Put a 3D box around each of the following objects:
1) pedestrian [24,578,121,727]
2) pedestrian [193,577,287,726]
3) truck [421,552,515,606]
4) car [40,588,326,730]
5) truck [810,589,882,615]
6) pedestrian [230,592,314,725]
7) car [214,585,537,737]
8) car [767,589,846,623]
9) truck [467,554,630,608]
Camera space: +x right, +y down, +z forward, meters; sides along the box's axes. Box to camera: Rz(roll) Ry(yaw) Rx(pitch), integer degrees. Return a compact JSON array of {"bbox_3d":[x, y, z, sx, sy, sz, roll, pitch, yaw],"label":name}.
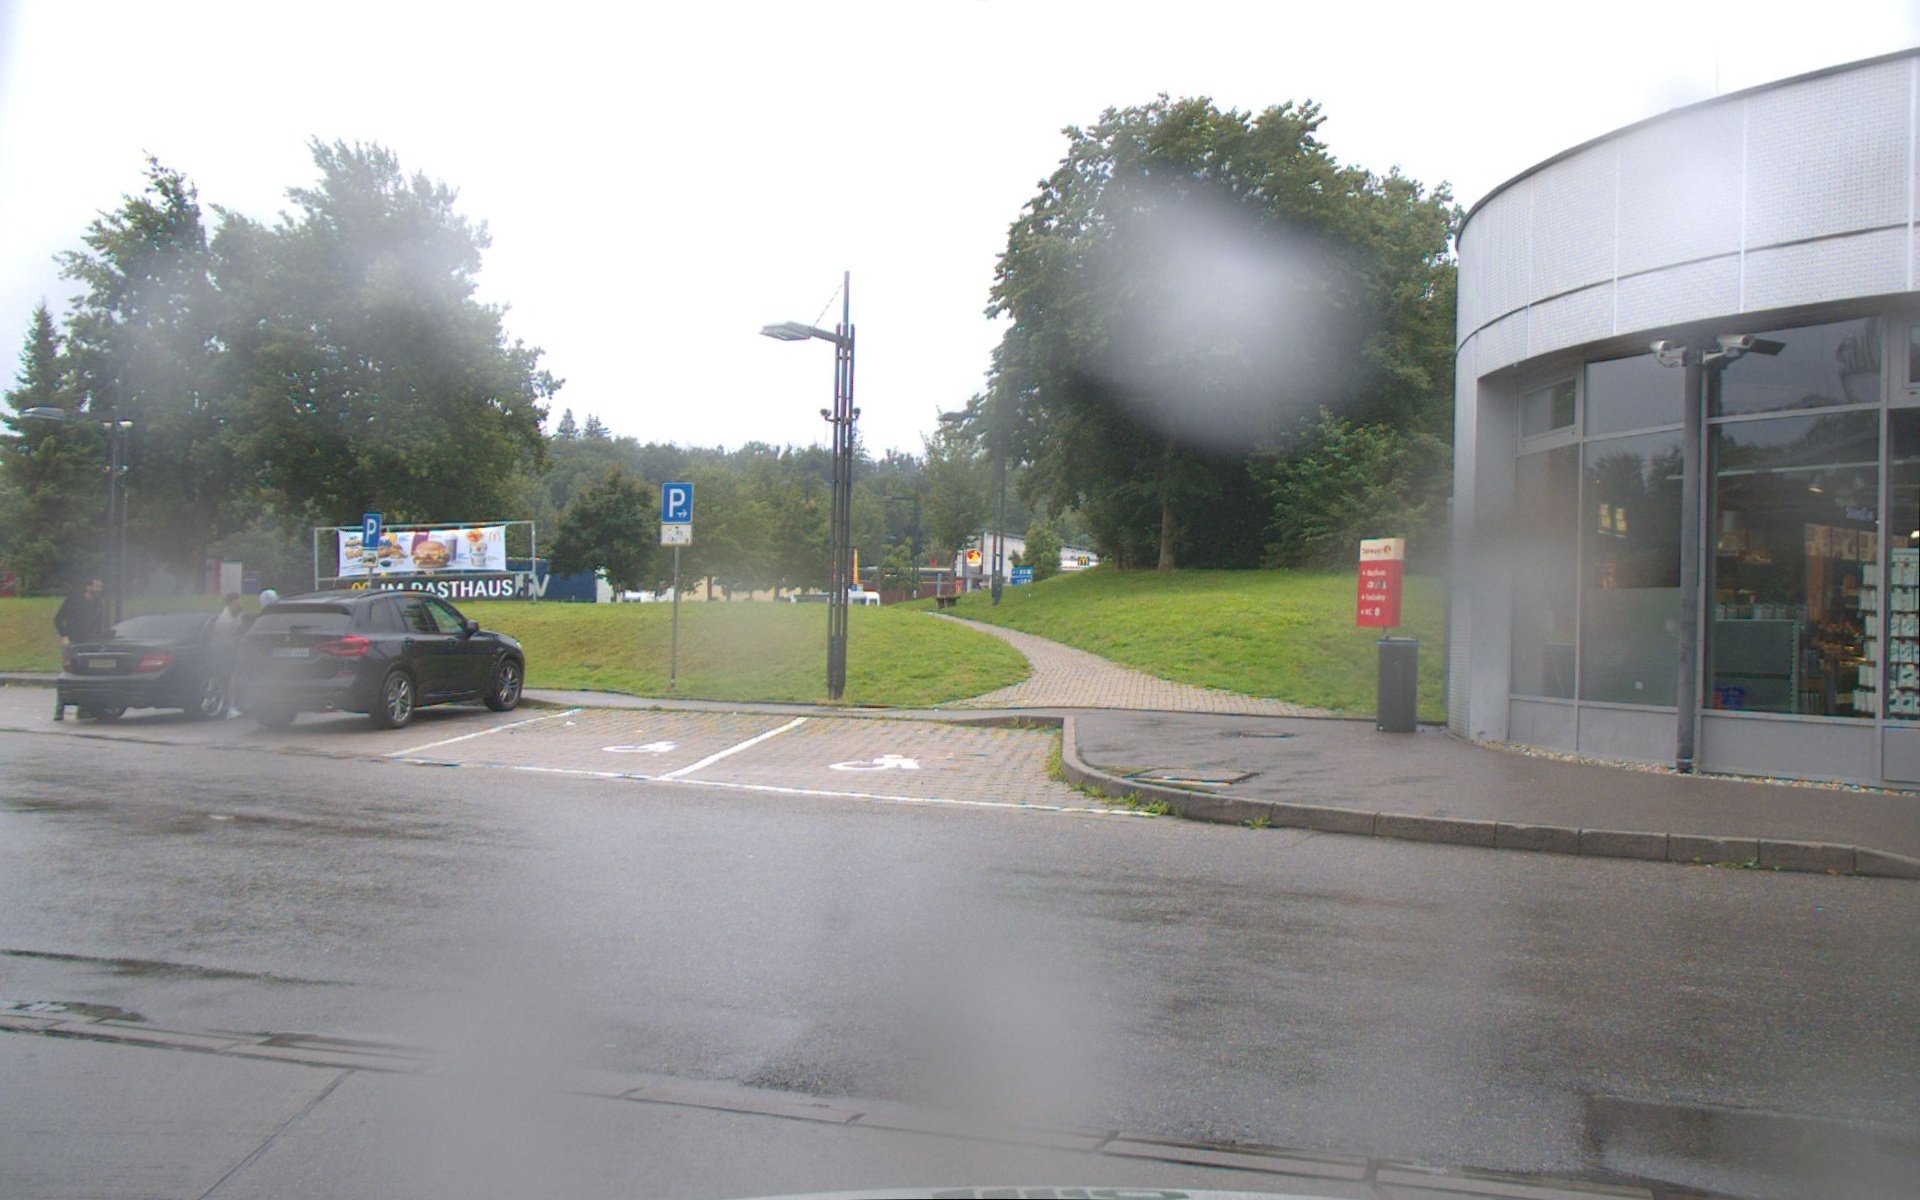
[{"bbox_3d":[-11.753,0.677,21.916,0.872,1.920,0.704,1,-1,22],"label":"pedestrian"},{"bbox_3d":[-9.524,0.671,21.905,0.687,1.920,0.955,1,-1,10],"label":"pedestrian"},{"bbox_3d":[-27.977,-1.162,94.259,2.142,2.971,5.384,1,0,24],"label":"truck"},{"bbox_3d":[-10.570,0.721,22.894,1.976,1.741,4.342,-1,1,-2],"label":"car"},{"bbox_3d":[-9.229,0.148,133.672,5.298,2.049,2.366,1,0,24],"label":"truck"},{"bbox_3d":[-8.821,0.741,21.210,0.939,1.660,0.698,1,-1,-26],"label":"pedestrian"},{"bbox_3d":[-7.362,0.695,21.376,1.973,1.741,4.347,-1,1,11],"label":"car"},{"bbox_3d":[-8.604,0.338,92.965,4.092,1.814,1.820,1,0,-37],"label":"car"},{"bbox_3d":[-24.926,-1.079,101.274,2.142,2.971,13.092,1,0,23],"label":"truck"}]
